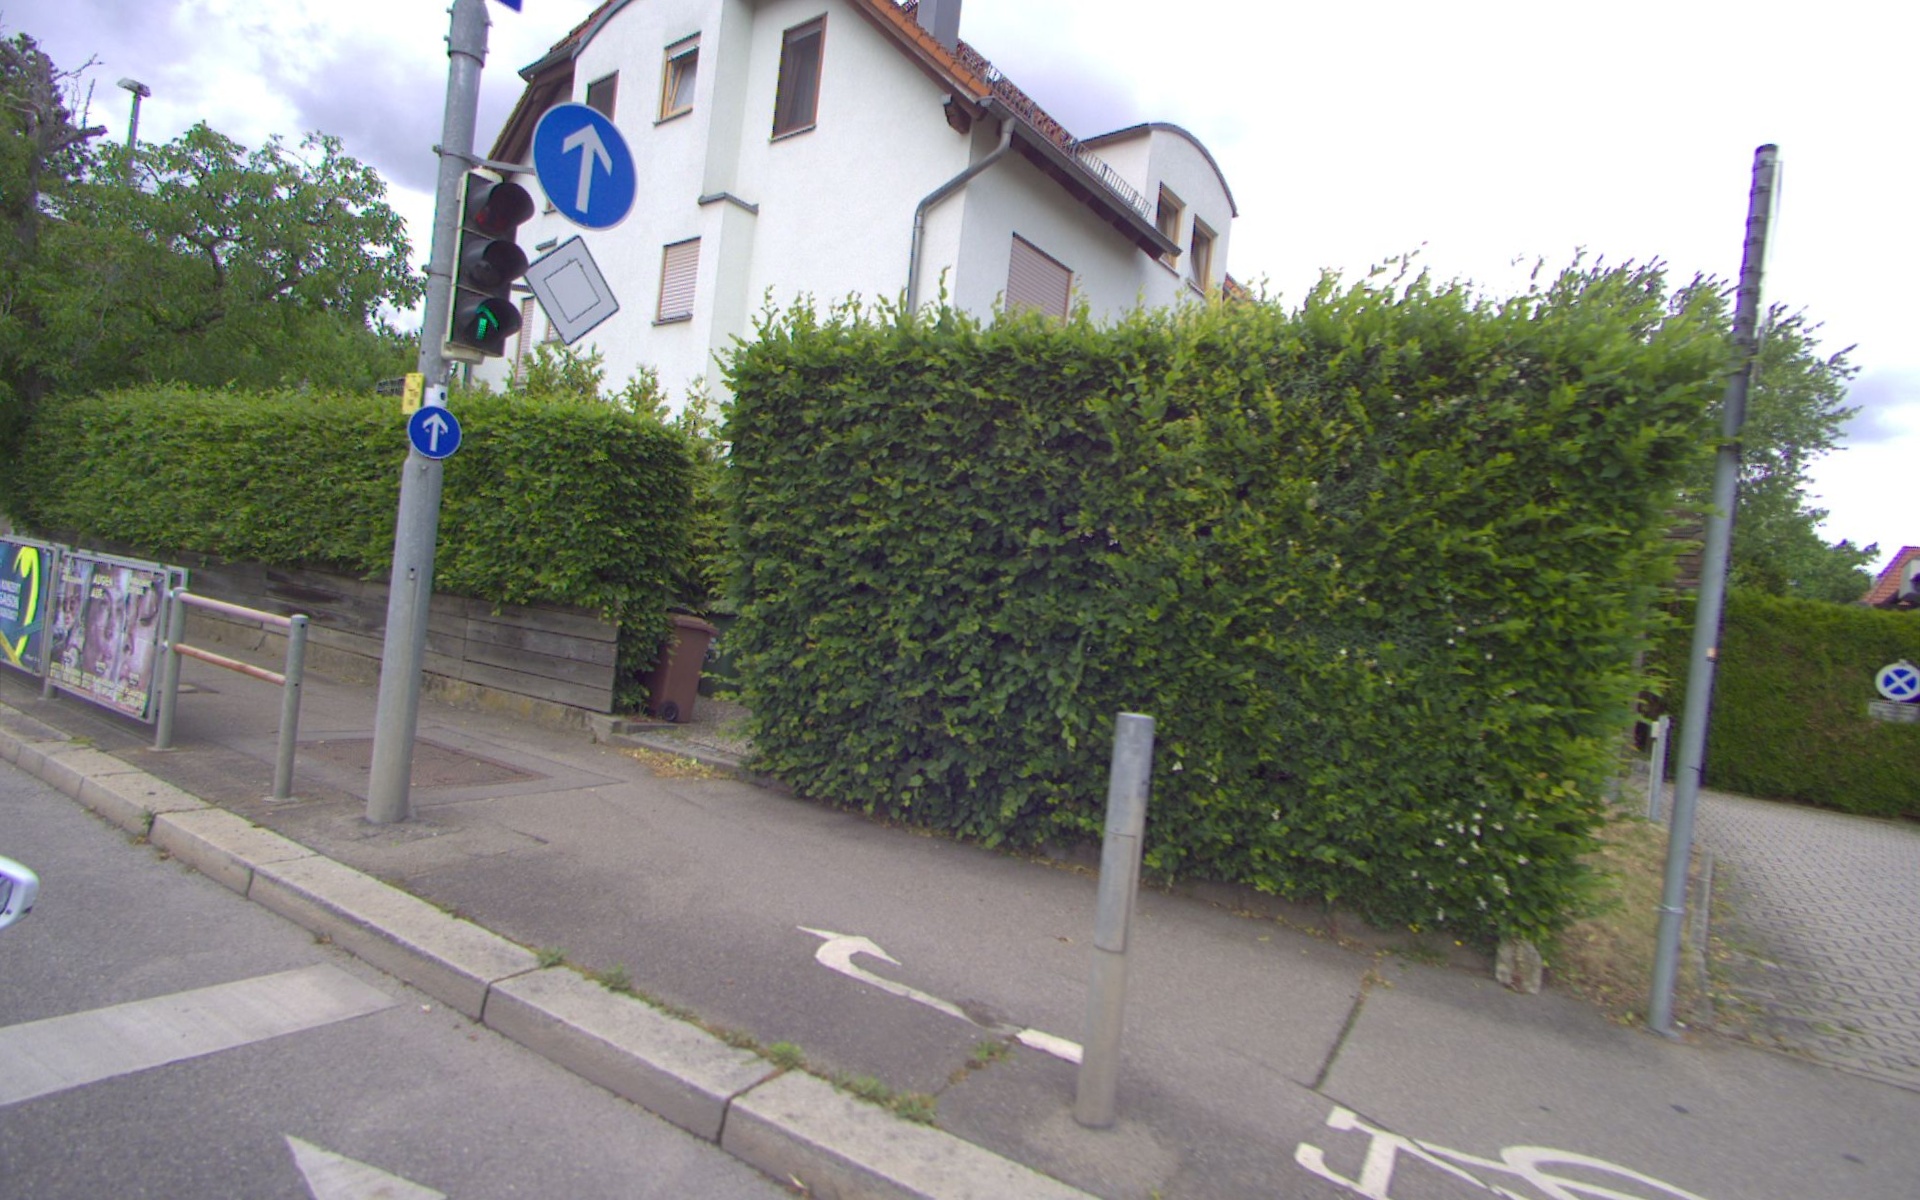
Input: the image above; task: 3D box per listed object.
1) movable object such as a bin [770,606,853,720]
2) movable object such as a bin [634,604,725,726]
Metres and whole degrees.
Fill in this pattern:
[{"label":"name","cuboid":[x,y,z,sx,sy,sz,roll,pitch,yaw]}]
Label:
[{"label":"movable object such as a bin","cuboid":[-1.507,0.623,10.242,0.529,1.077,0.564,7,4,32]},{"label":"movable object such as a bin","cuboid":[-2.433,0.564,8.738,0.466,0.982,0.474,7,1,31]}]
